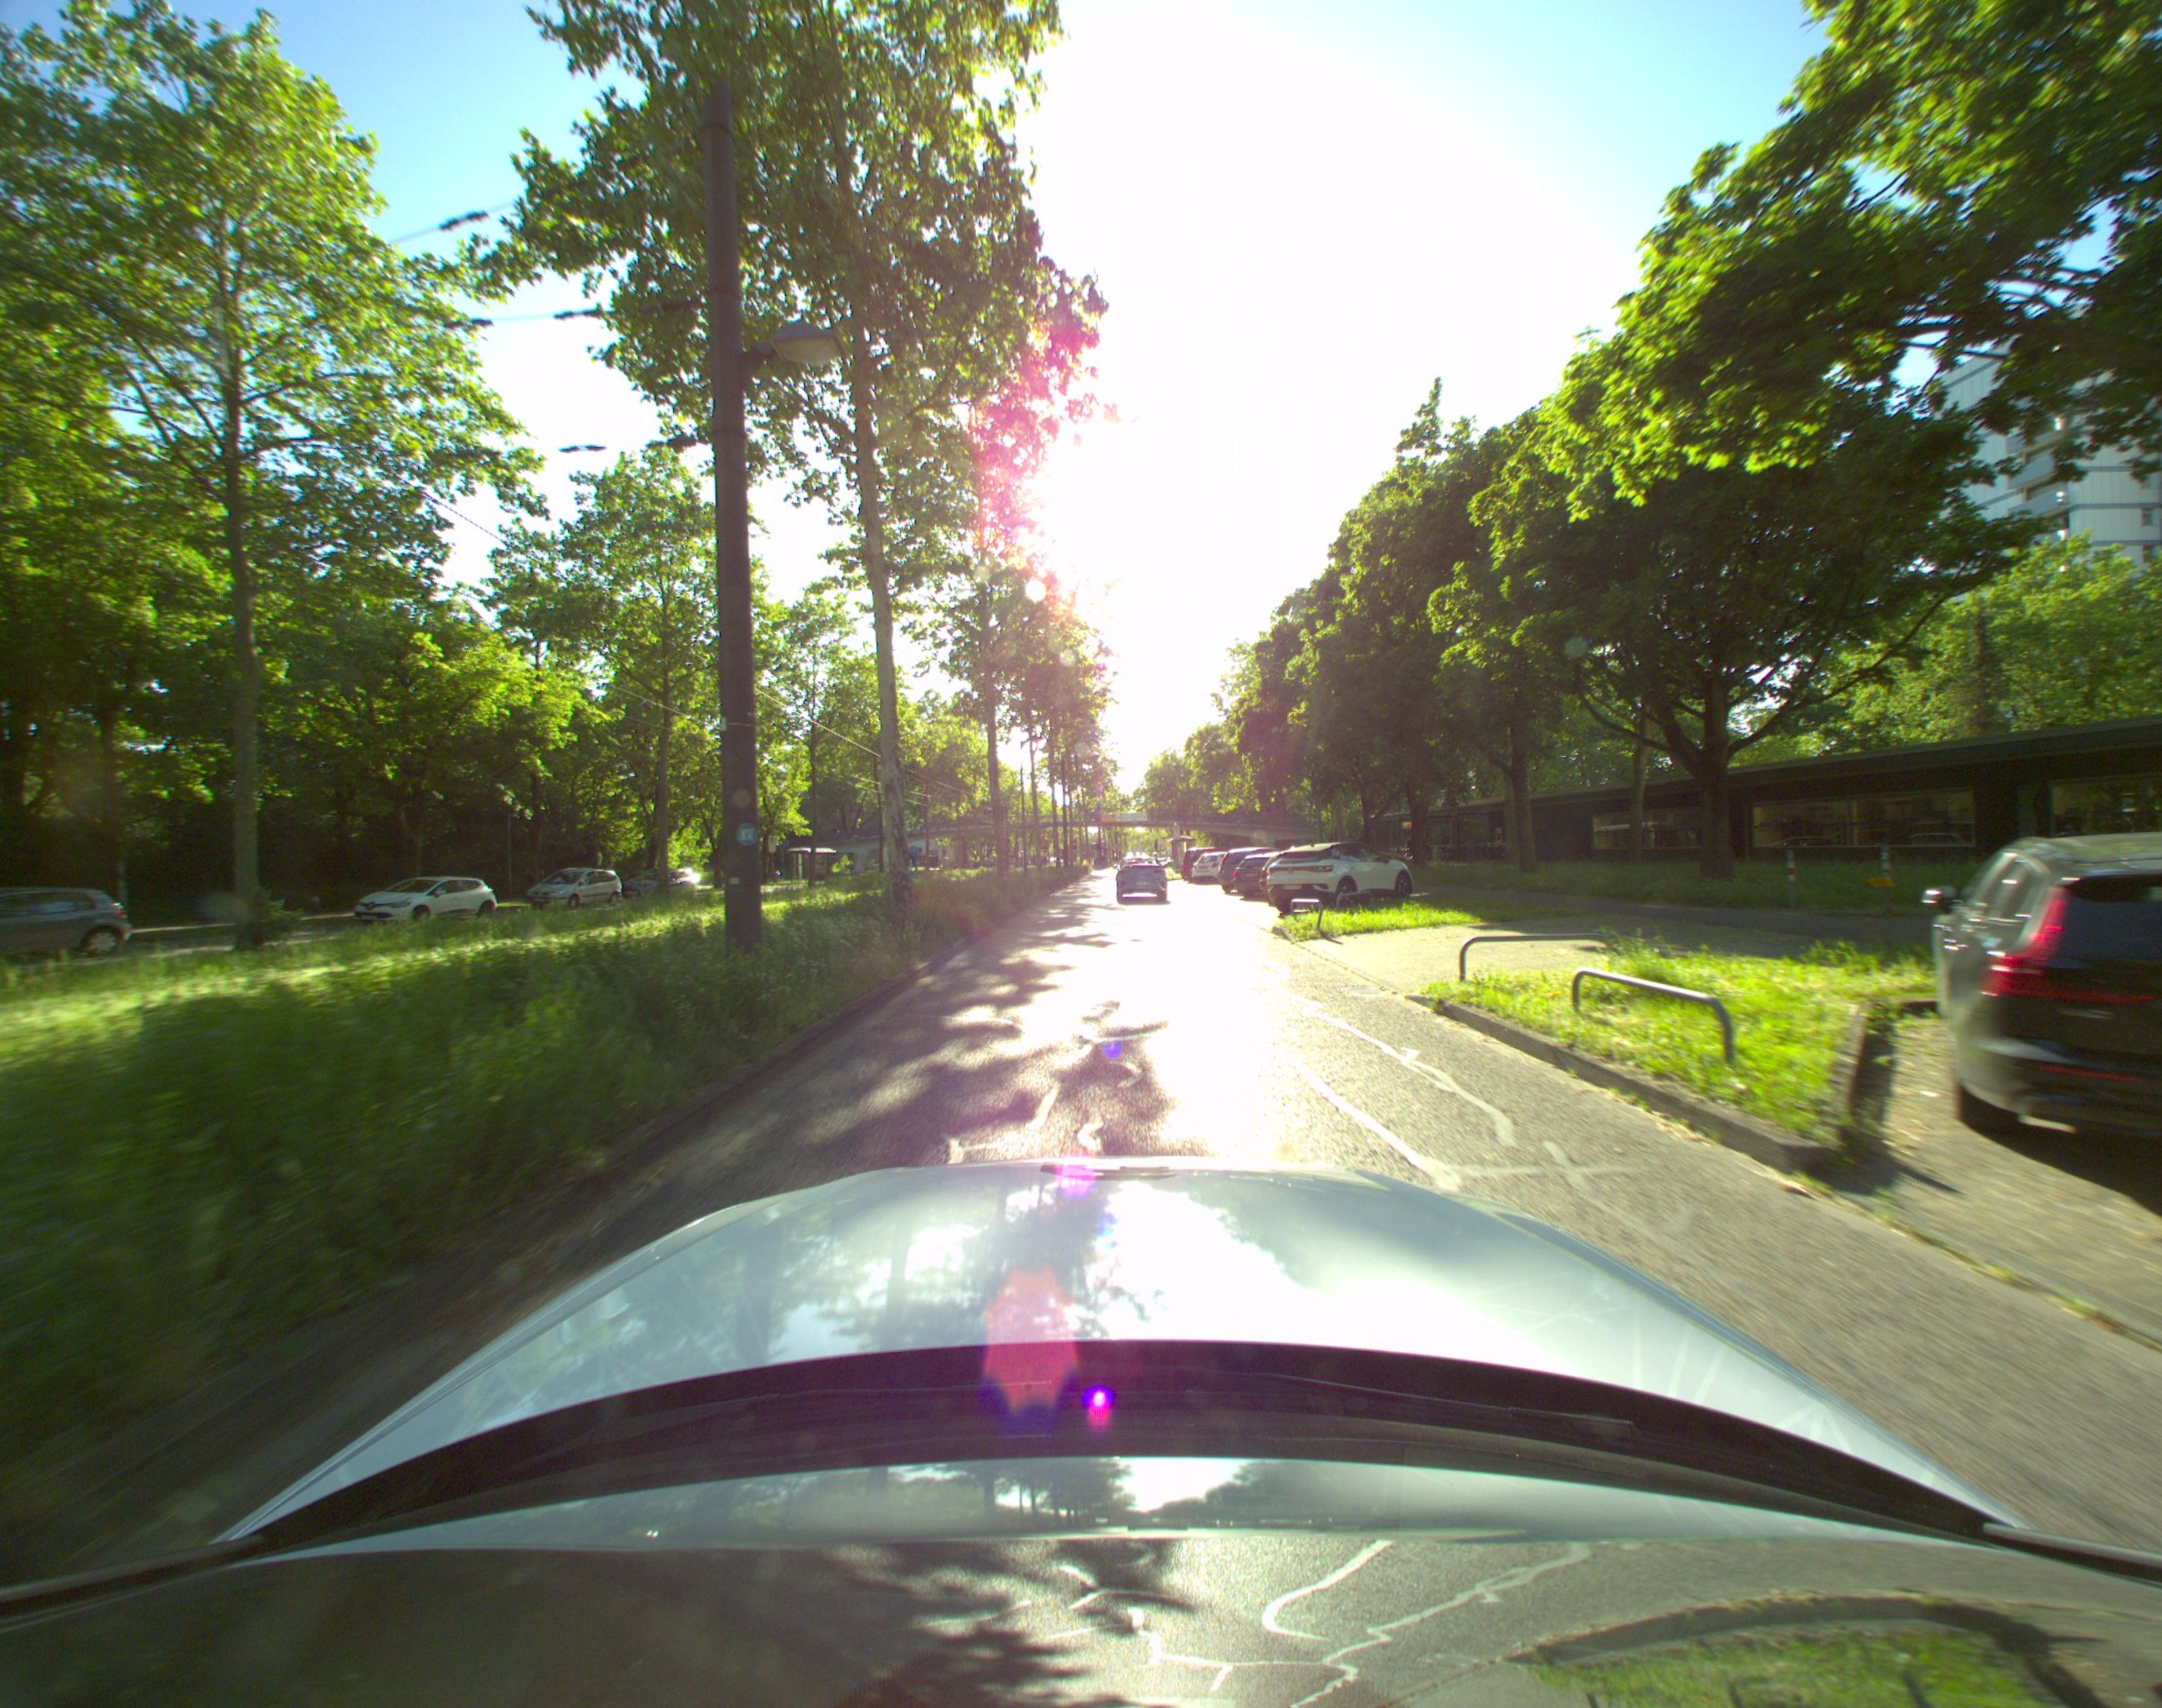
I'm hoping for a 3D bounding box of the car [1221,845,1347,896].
[{"bbox_3d":[7.006,0.509,27.870,4.649,1.521,1.834,-2,0,-41],"label":"car"}]

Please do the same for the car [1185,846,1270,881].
[{"bbox_3d":[7.611,0.452,42.021,4.649,1.680,1.835,-1,0,-41],"label":"car"}]

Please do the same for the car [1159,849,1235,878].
[{"bbox_3d":[6.915,0.546,48.273,4.649,1.614,1.835,-1,0,-41],"label":"car"}]

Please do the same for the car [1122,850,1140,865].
[{"bbox_3d":[5.732,0.411,94.235,1.986,1.651,4.003,-1,0,2],"label":"car"}]

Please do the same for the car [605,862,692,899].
[{"bbox_3d":[-21.010,1.257,39.750,1.779,1.590,4.172,1,0,3],"label":"car"}]

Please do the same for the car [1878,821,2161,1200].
[{"bbox_3d":[6.003,0.558,4.663,4.651,1.459,1.955,-2,0,-45],"label":"car"}]

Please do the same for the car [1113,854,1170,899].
[{"bbox_3d":[2.131,0.762,29.366,1.914,1.411,4.003,-1,1,3],"label":"car"}]

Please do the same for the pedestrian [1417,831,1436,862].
[{"bbox_3d":[22.590,-0.471,53.261,0.826,2.013,0.742,-2,0,-39],"label":"pedestrian"}]

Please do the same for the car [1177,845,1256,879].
[{"bbox_3d":[7.607,0.425,45.429,4.649,1.768,1.835,-1,0,-41],"label":"car"}]

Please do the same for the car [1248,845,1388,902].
[{"bbox_3d":[7.222,0.519,24.592,4.649,1.570,1.835,-1,0,-41],"label":"car"}]

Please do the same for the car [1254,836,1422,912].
[{"bbox_3d":[6.513,0.431,20.345,4.649,1.680,1.835,-1,0,-41],"label":"car"}]

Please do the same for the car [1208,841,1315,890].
[{"bbox_3d":[7.096,0.423,31.715,1.833,1.680,4.639,-4,-2,43],"label":"car"}]

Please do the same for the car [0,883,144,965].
[{"bbox_3d":[-21.778,1.400,15.983,1.985,1.453,4.004,1,0,3],"label":"car"}]

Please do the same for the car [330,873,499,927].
[{"bbox_3d":[-21.346,1.413,26.318,1.985,1.453,4.004,1,0,3],"label":"car"}]

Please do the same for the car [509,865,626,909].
[{"bbox_3d":[-21.104,1.306,33.709,1.985,1.590,4.172,1,0,3],"label":"car"}]
